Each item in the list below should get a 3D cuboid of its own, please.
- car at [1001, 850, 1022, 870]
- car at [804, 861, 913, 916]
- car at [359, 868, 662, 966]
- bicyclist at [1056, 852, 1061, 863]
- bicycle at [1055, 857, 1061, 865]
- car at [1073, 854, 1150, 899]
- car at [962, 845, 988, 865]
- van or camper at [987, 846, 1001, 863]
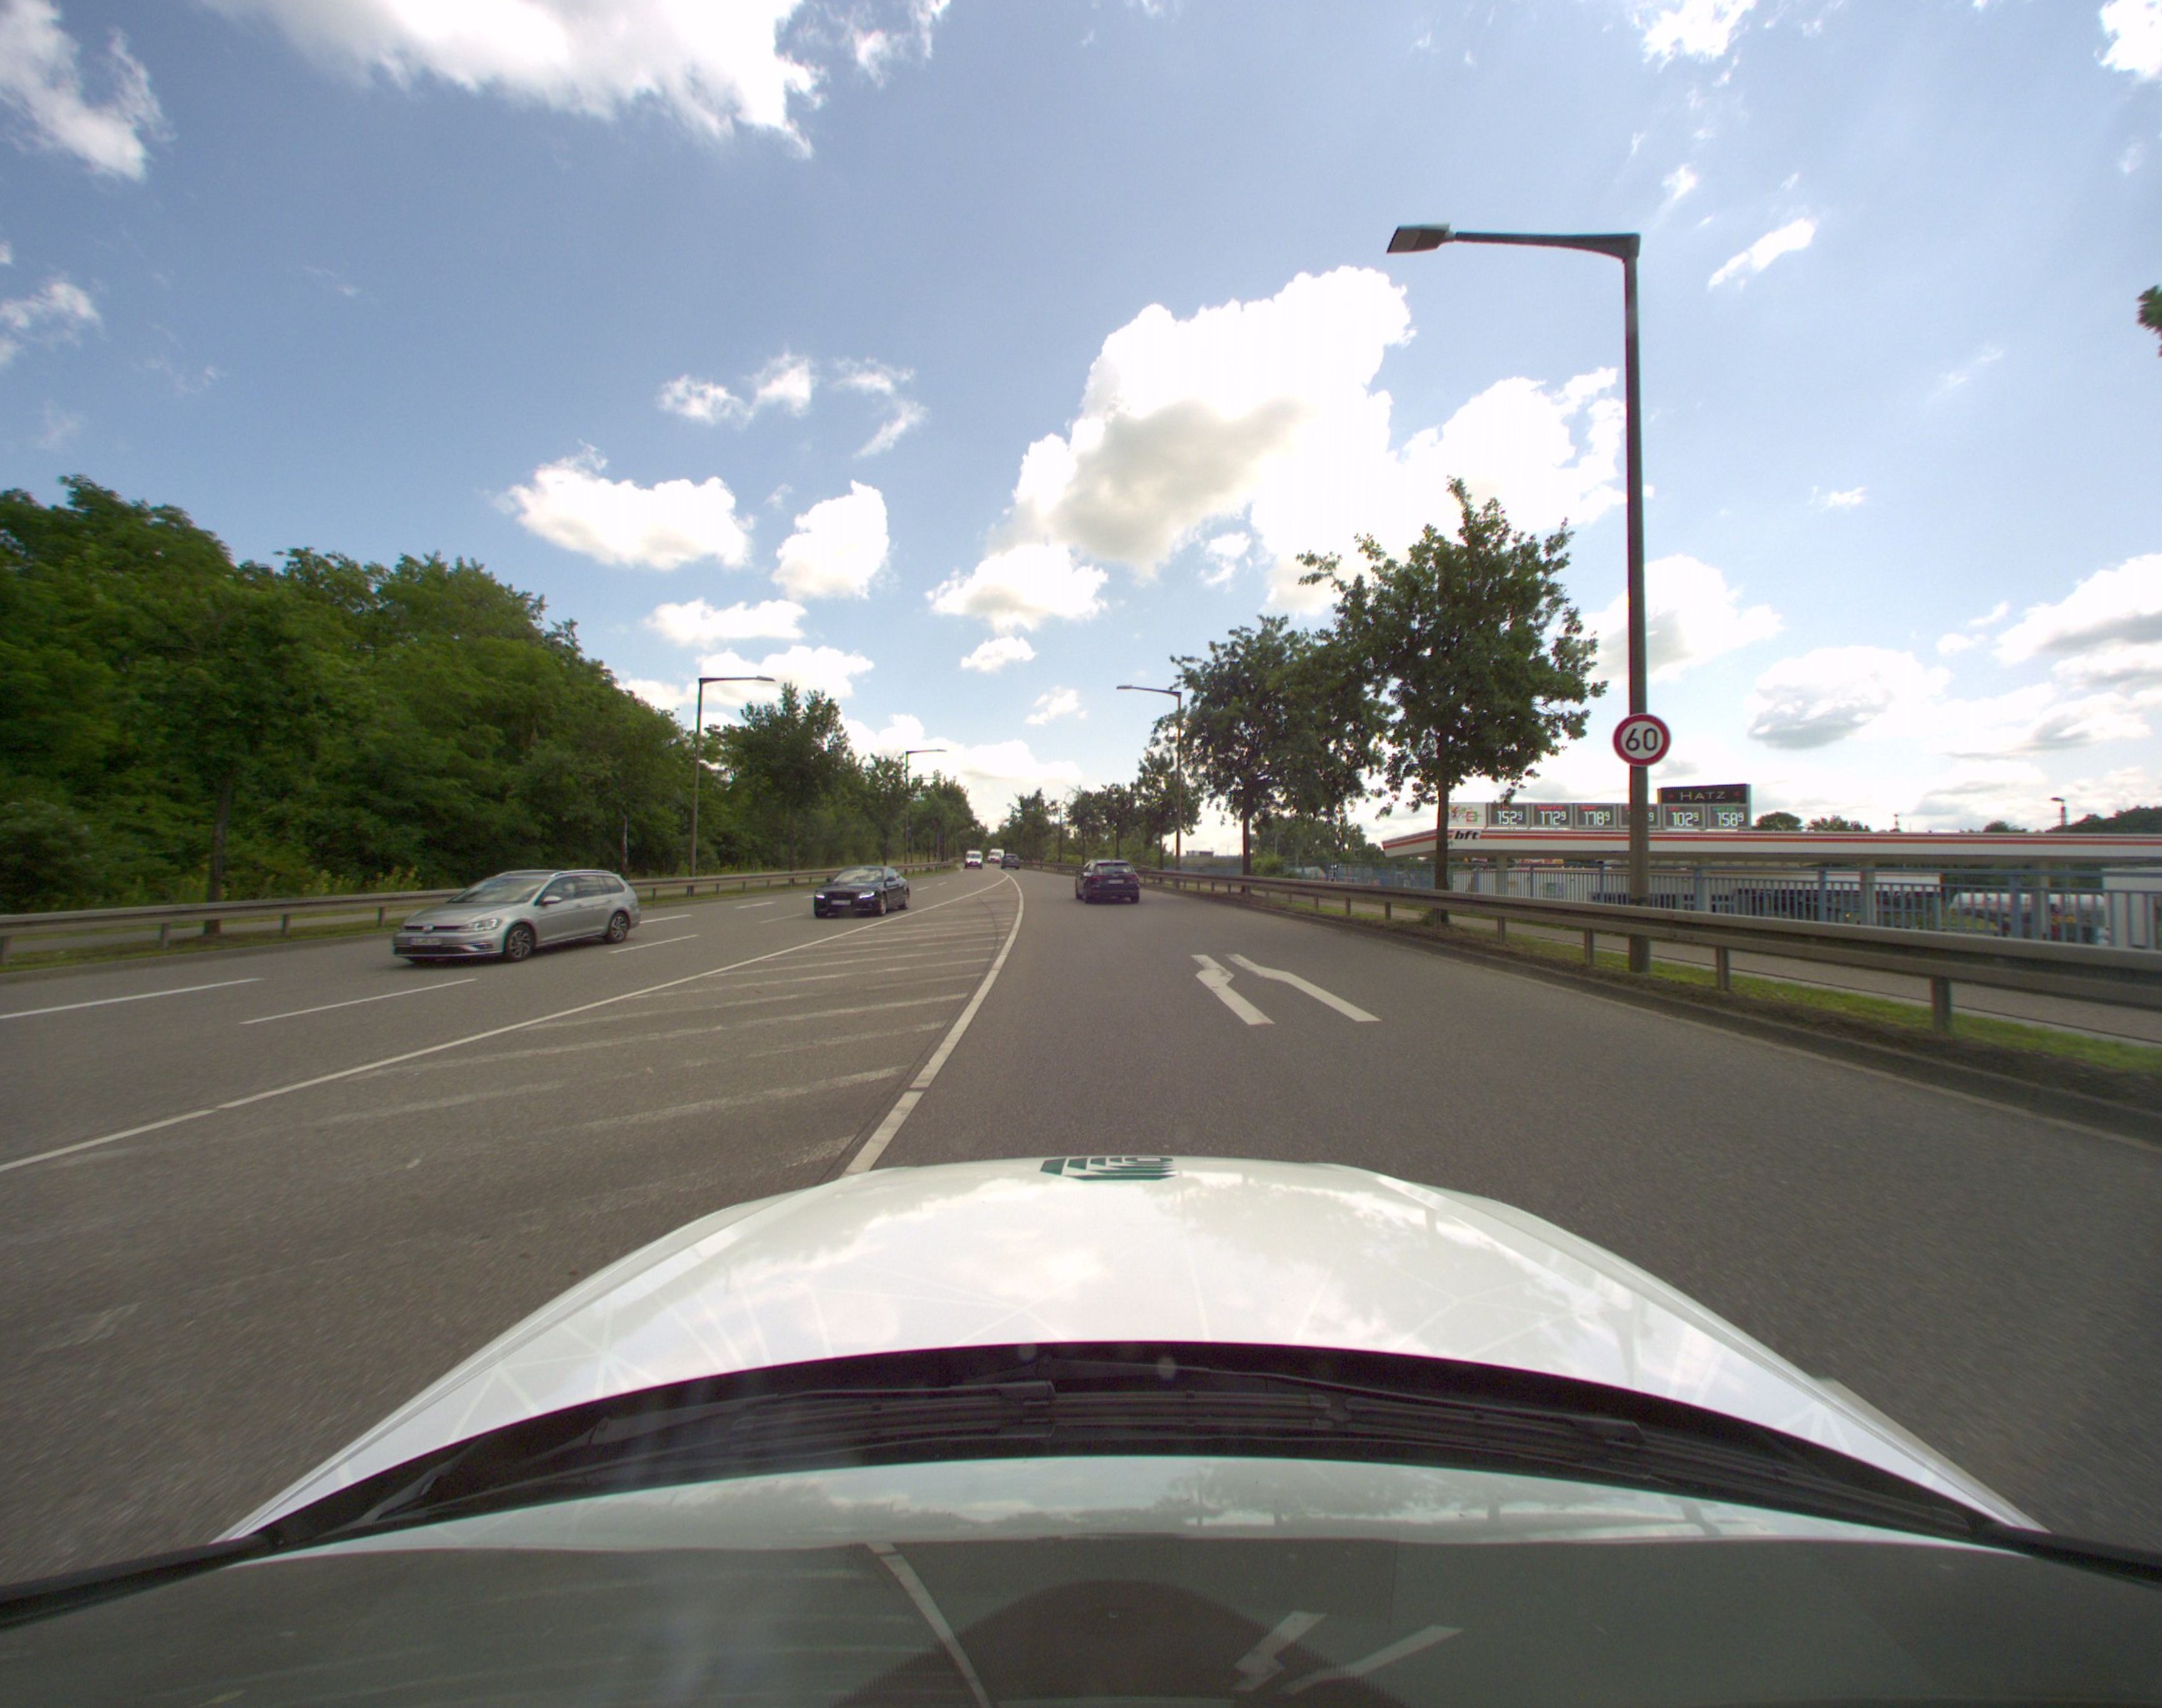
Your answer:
[{"bbox_3d":[-7.587,0.676,89.440,1.988,2.038,4.708,1,-3,-2],"label":"car"},{"bbox_3d":[-6.183,0.922,23.185,1.898,1.363,4.572,-2,-1,-2],"label":"car"},{"bbox_3d":[-9.973,1.015,14.838,1.985,1.396,4.704,0,0,4],"label":"car"},{"bbox_3d":[-2.540,0.400,90.855,0.473,1.168,0.825,-1,-1,-6],"label":"bicyclist"},{"bbox_3d":[-2.527,0.782,90.796,0.541,0.866,1.746,2,-2,-5],"label":"bicycle"},{"bbox_3d":[0.954,0.754,28.056,1.991,1.390,4.566,2,-1,-6],"label":"car"},{"bbox_3d":[-10.832,0.073,83.469,1.988,2.013,4.557,1,0,-1],"label":"car"},{"bbox_3d":[-15.428,0.078,144.329,1.993,2.751,5.369,2,-2,-9],"label":"van or camper"}]
